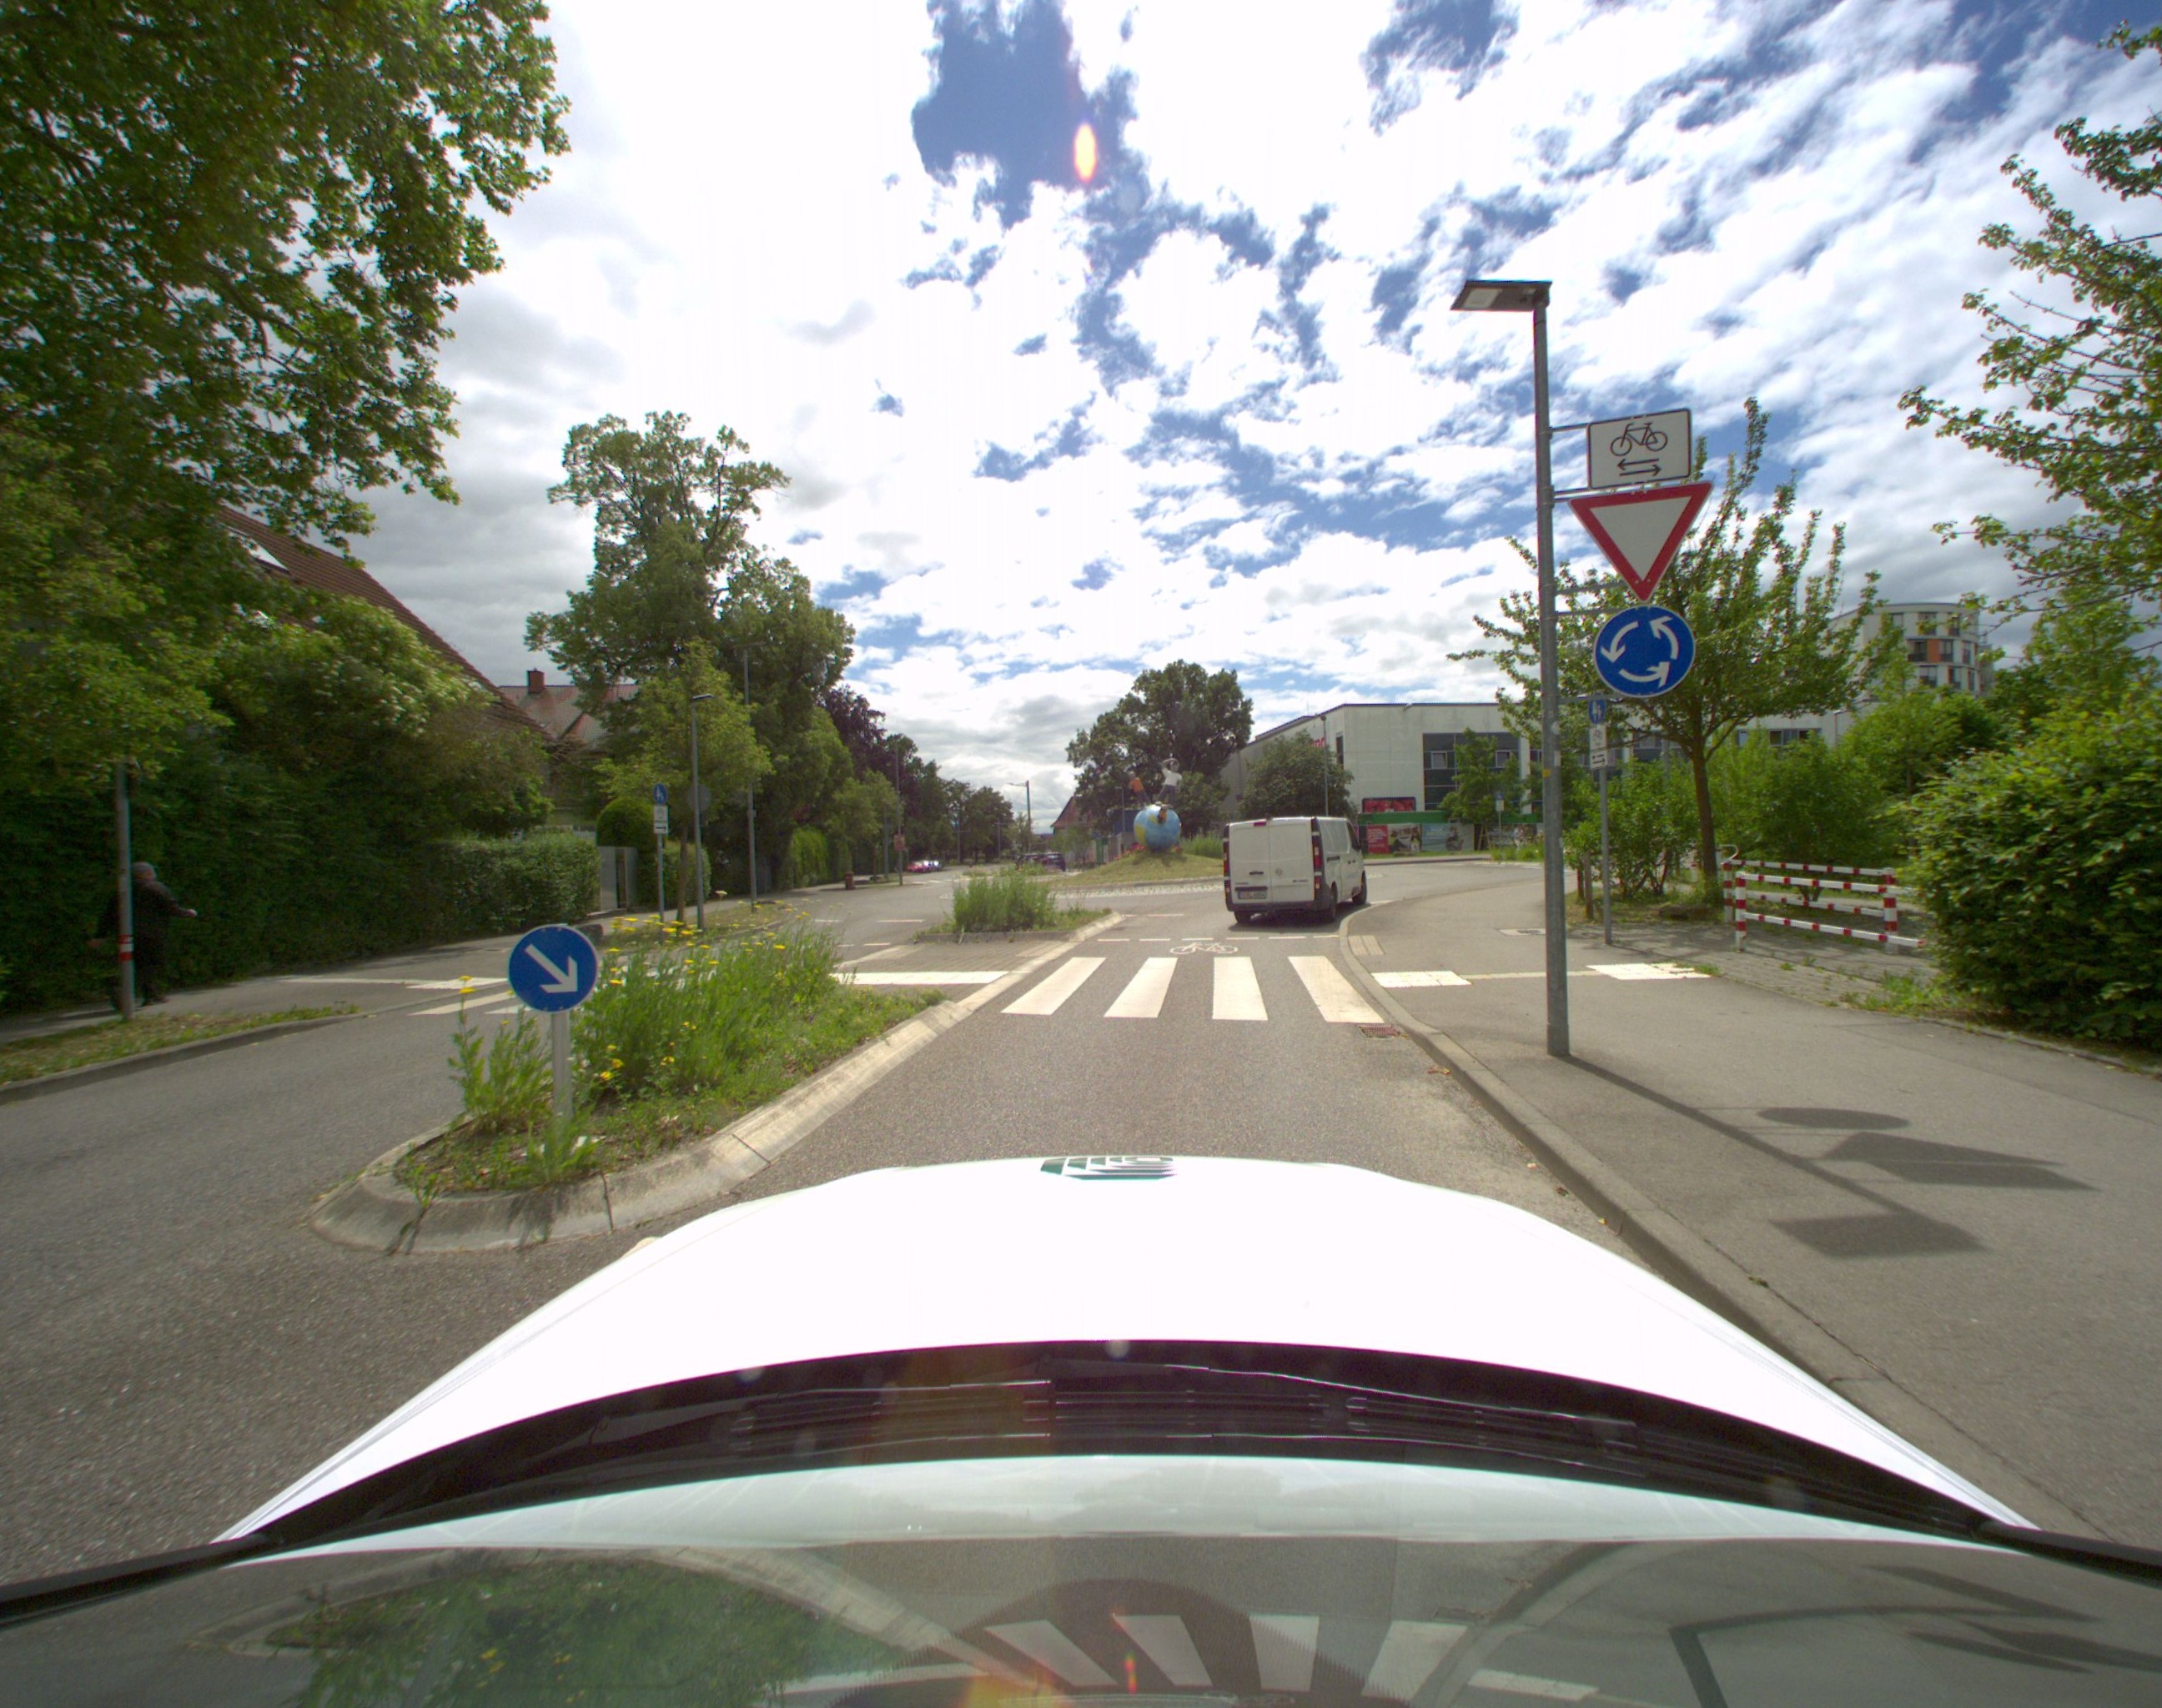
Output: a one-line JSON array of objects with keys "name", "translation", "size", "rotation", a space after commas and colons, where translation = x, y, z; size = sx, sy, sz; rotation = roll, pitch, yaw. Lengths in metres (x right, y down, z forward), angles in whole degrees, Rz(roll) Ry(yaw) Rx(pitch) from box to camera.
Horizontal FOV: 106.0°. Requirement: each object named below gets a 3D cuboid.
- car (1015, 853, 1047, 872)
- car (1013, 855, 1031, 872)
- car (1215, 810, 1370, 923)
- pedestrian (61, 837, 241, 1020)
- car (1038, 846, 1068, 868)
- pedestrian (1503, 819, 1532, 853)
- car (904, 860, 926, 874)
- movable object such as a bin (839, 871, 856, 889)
[{"name": "car", "translation": [-4.459, 0.724, 71.969], "size": [1.924, 1.500, 3.903], "rotation": [-2, 1, -17]}, {"name": "car", "translation": [-6.553, 0.996, 89.964], "size": [1.894, 1.744, 3.919], "rotation": [-2, 1, -4]}, {"name": "car", "translation": [4.497, 0.180, 16.658], "size": [2.016, 1.945, 5.023], "rotation": [0, 1, 27]}, {"name": "pedestrian", "translation": [-11.093, 0.839, 9.773], "size": [0.872, 2.013, 1.037], "rotation": [-3, 0, -10]}, {"name": "car", "translation": [-2.258, 0.210, 64.278], "size": [1.931, 1.537, 3.914], "rotation": [-2, 1, -8]}, {"name": "pedestrian", "translation": [20.618, -0.845, 38.445], "size": [1.024, 1.541, 0.901], "rotation": [0, 0, 40]}, {"name": "car", "translation": [-18.105, 1.403, 88.682], "size": [2.067, 1.386, 4.027], "rotation": [-2, 1, -15]}, {"name": "movable object such as a bin", "translation": [-12.043, 1.348, 41.992], "size": [0.627, 0.863, 0.641], "rotation": [-3, 0, 4]}]
